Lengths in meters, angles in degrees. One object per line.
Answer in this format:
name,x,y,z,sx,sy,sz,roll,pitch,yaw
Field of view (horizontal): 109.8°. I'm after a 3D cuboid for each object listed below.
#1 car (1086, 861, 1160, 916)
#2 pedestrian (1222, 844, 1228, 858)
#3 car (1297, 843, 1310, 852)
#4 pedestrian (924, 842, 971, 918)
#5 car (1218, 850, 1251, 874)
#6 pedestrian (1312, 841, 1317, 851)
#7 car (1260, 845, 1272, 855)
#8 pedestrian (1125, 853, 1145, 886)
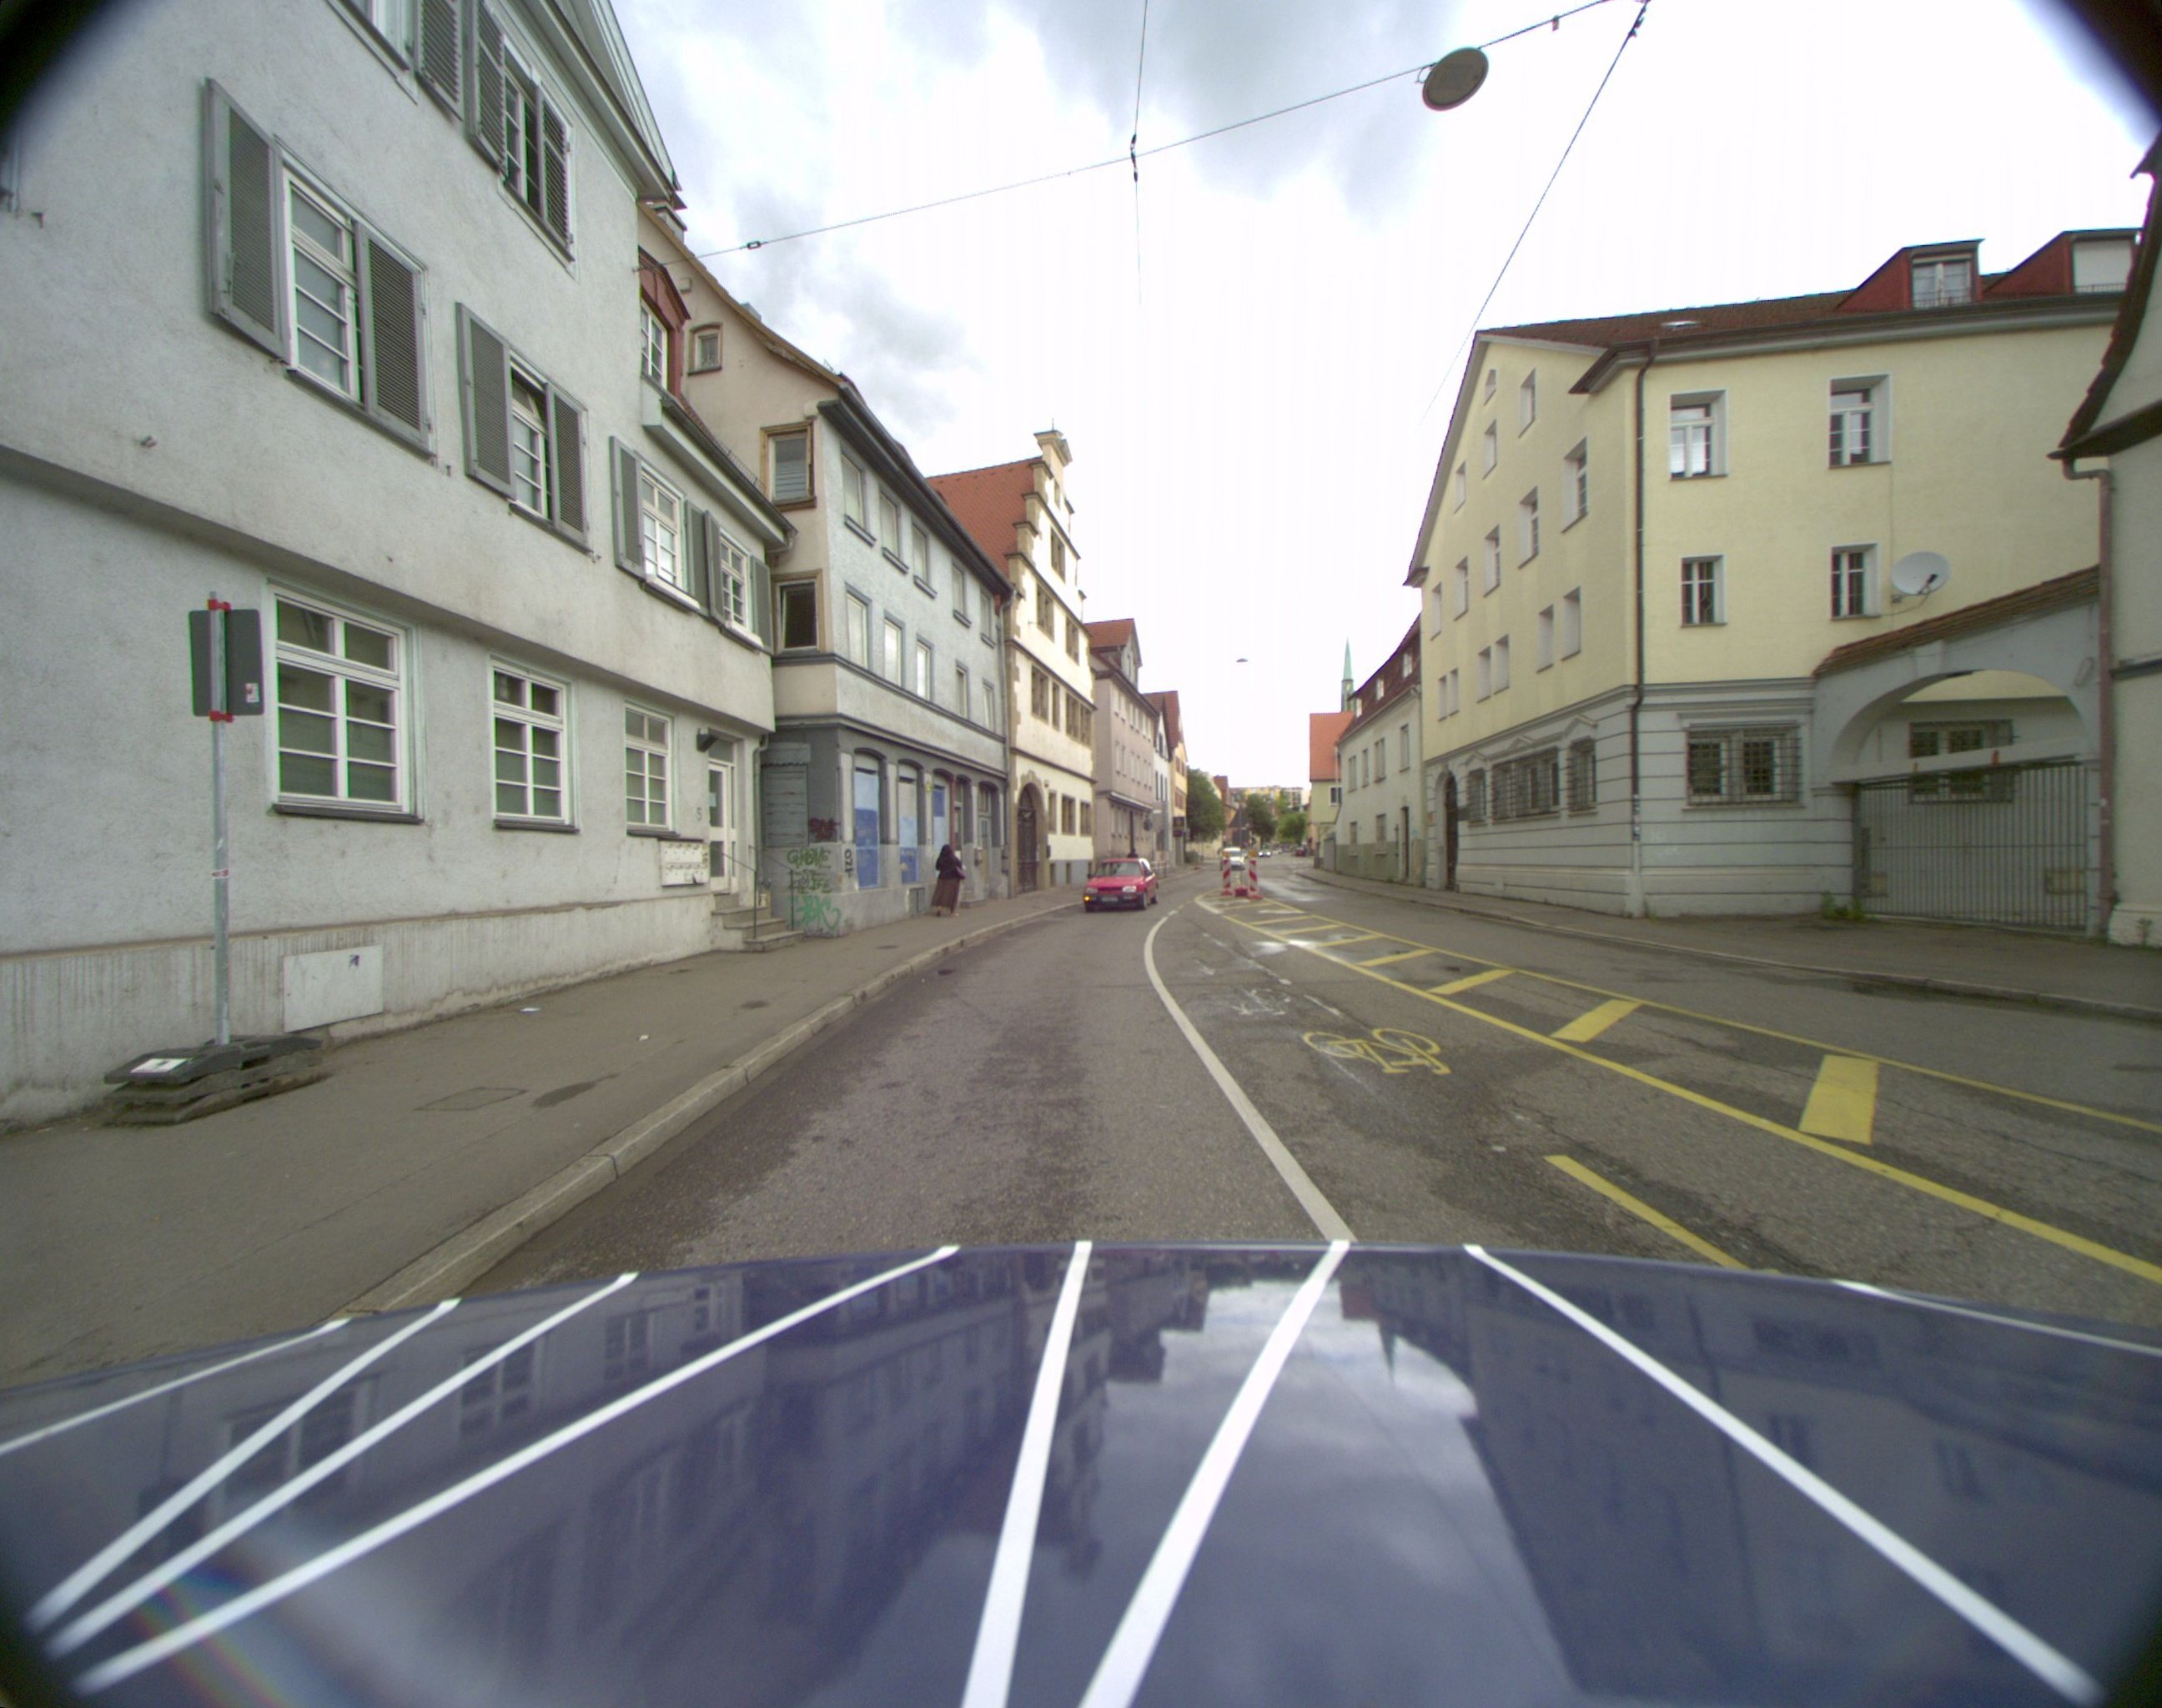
car,1.294,0.927,21.845,1.684,1.418,4.025,0,-1,9
pedestrian,22.905,-0.451,120.944,0.901,2.297,0.821,-1,0,13
car,42.764,-1.284,146.046,2.210,1.668,4.502,0,1,14
pedestrian,-3.015,0.580,17.222,0.756,1.658,0.810,2,1,9
car,12.364,0.572,61.351,1.998,1.777,4.467,0,1,3
pedestrian,45.969,-1.524,149.768,0.835,2.002,0.846,-1,0,13
car,32.686,-0.647,134.192,1.996,1.669,4.004,-1,1,15
pedestrian,2.732,0.771,38.458,0.833,1.646,0.945,0,0,15
